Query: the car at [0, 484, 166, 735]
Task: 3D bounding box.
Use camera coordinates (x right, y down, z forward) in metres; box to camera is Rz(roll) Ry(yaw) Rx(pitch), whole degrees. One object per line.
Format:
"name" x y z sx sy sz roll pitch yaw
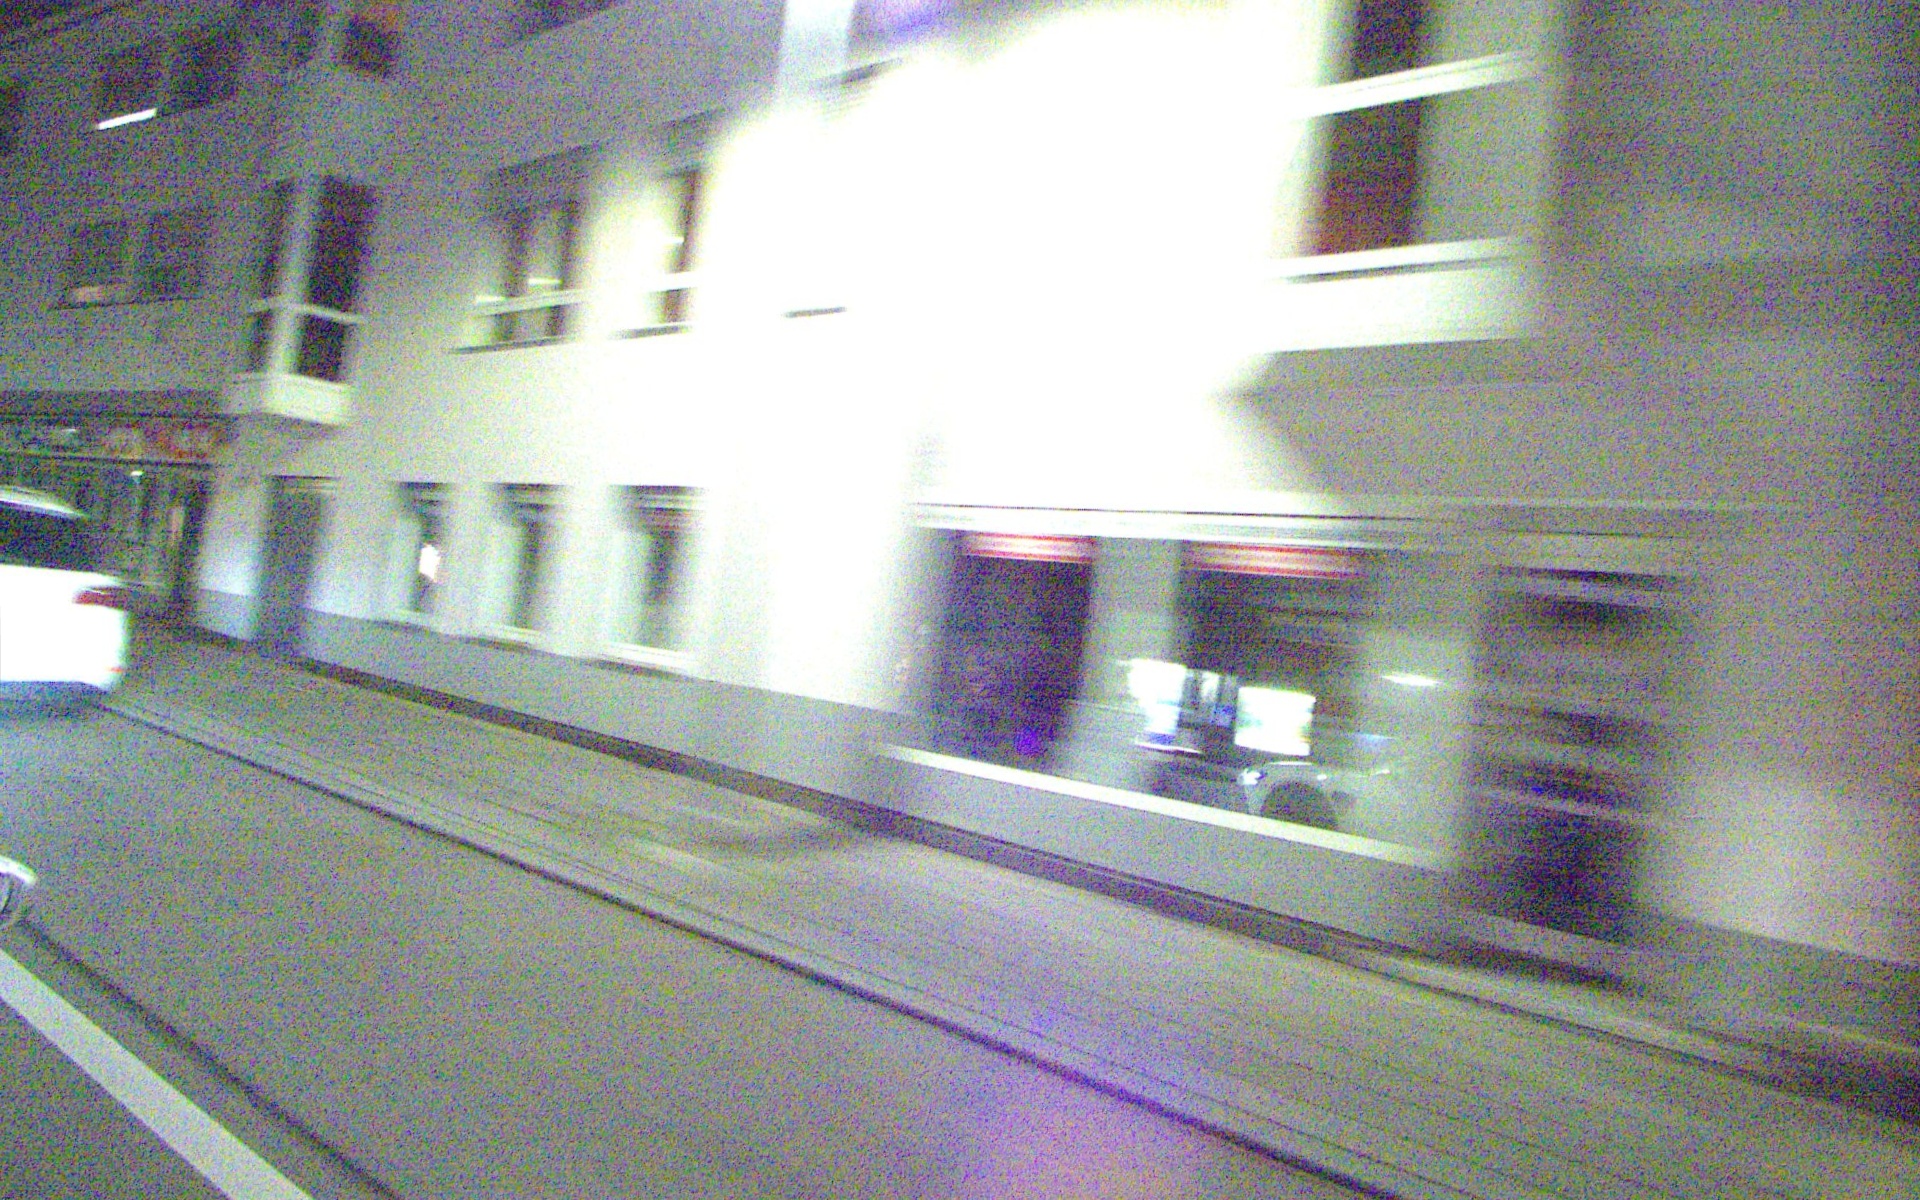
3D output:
"car" -7.913 -0.151 7.327 4.136 1.587 1.747 7 -1 29

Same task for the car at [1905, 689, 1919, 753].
"car" 22.022 2.803 21.325 1.698 1.418 4.099 6 1 27
